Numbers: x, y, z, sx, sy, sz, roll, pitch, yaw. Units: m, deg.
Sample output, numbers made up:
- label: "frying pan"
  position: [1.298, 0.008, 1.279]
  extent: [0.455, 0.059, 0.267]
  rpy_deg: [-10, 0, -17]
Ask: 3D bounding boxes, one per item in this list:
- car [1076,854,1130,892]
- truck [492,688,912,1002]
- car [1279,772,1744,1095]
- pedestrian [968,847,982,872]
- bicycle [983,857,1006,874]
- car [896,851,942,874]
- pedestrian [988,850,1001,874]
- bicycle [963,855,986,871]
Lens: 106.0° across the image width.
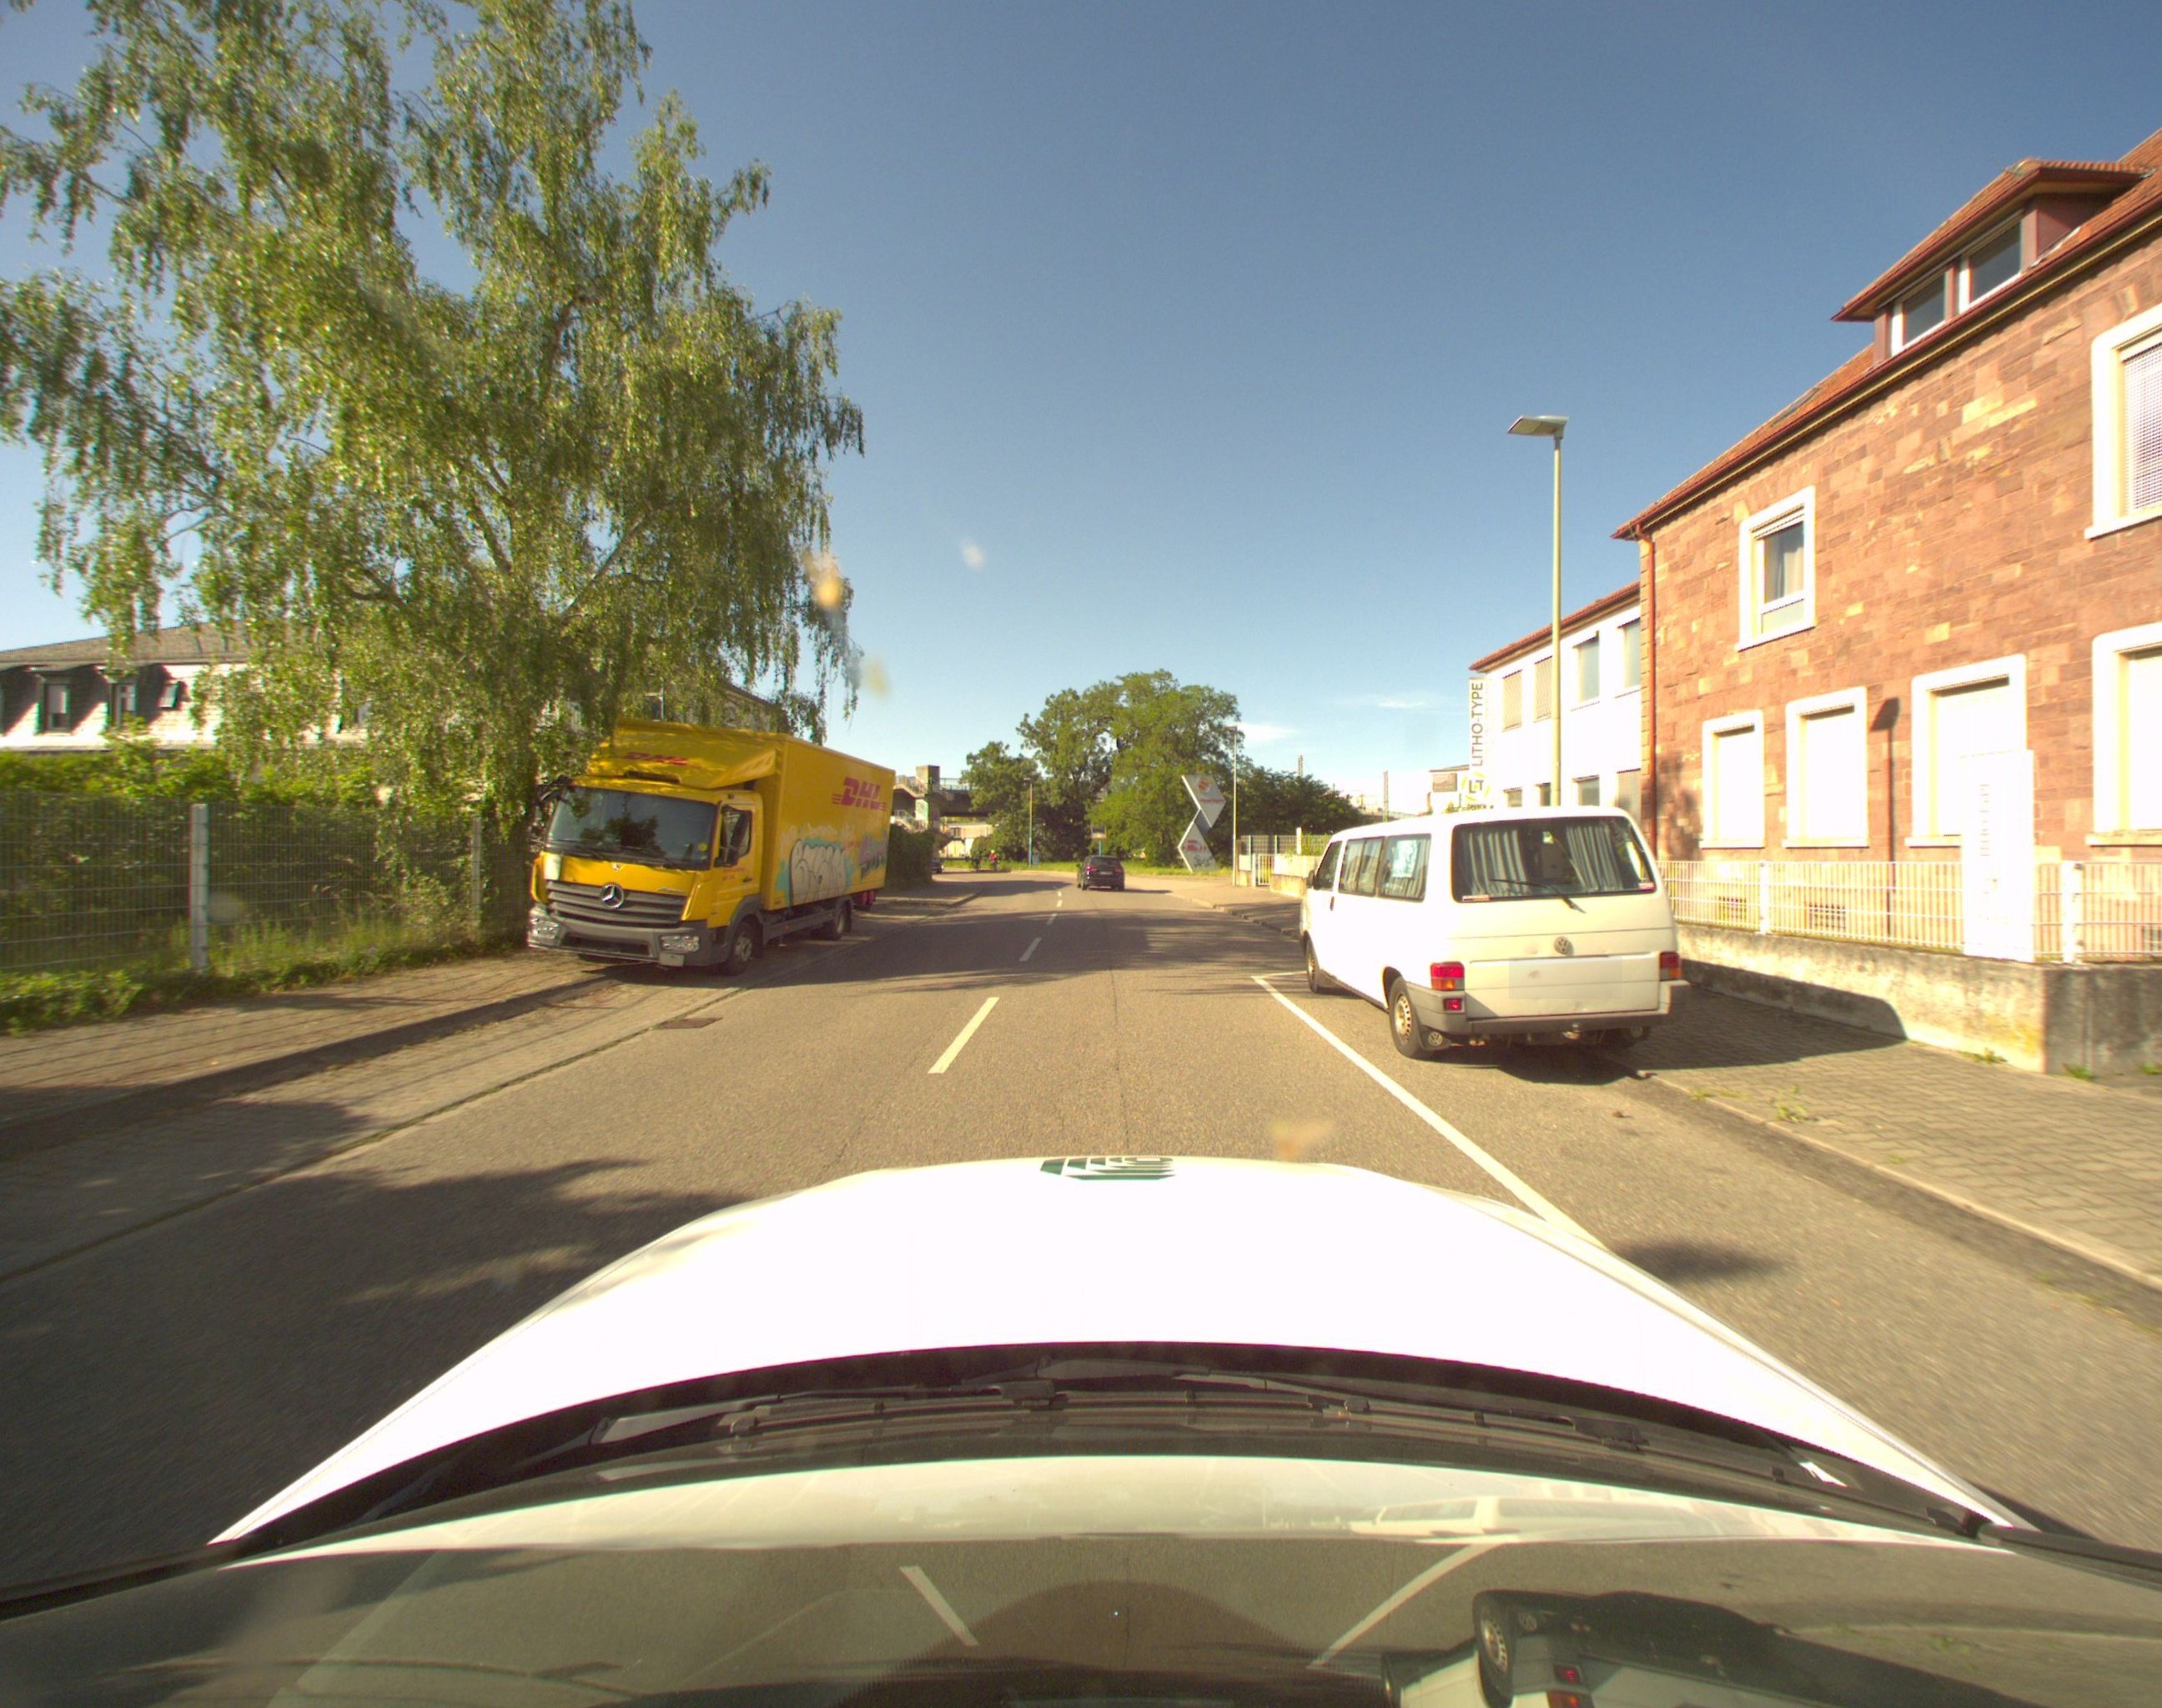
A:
- label: "car"
  position: [0.875, 0.751, 34.802]
  extent: [1.844, 1.530, 3.993]
  rpy_deg: [0, 0, -5]
- label: "truck"
  position: [-5.433, -0.185, 14.061]
  extent: [2.622, 3.504, 8.661]
  rpy_deg: [6, 1, 2]
- label: "car"
  position: [3.373, 0.526, 7.778]
  extent: [1.867, 2.014, 5.163]
  rpy_deg: [1, -1, 2]
- label: "pedestrian"
  position: [-8.631, 0.484, 66.384]
  extent: [0.786, 2.014, 0.858]
  rpy_deg: [2, -1, -38]
- label: "bicycle"
  position: [-6.703, 0.894, 63.298]
  extent: [0.809, 1.268, 2.235]
  rpy_deg: [2, -1, -33]
- label: "car"
  position: [-12.417, 0.648, 62.363]
  extent: [2.008, 1.686, 4.161]
  rpy_deg: [0, 0, -34]
- label: "pedestrian"
  position: [-6.691, 0.604, 63.200]
  extent: [0.661, 1.835, 0.785]
  rpy_deg: [2, -1, -35]
- label: "bicycle"
  position: [-8.674, 0.752, 66.437]
  extent: [0.810, 1.221, 2.233]
  rpy_deg: [2, -1, -38]
